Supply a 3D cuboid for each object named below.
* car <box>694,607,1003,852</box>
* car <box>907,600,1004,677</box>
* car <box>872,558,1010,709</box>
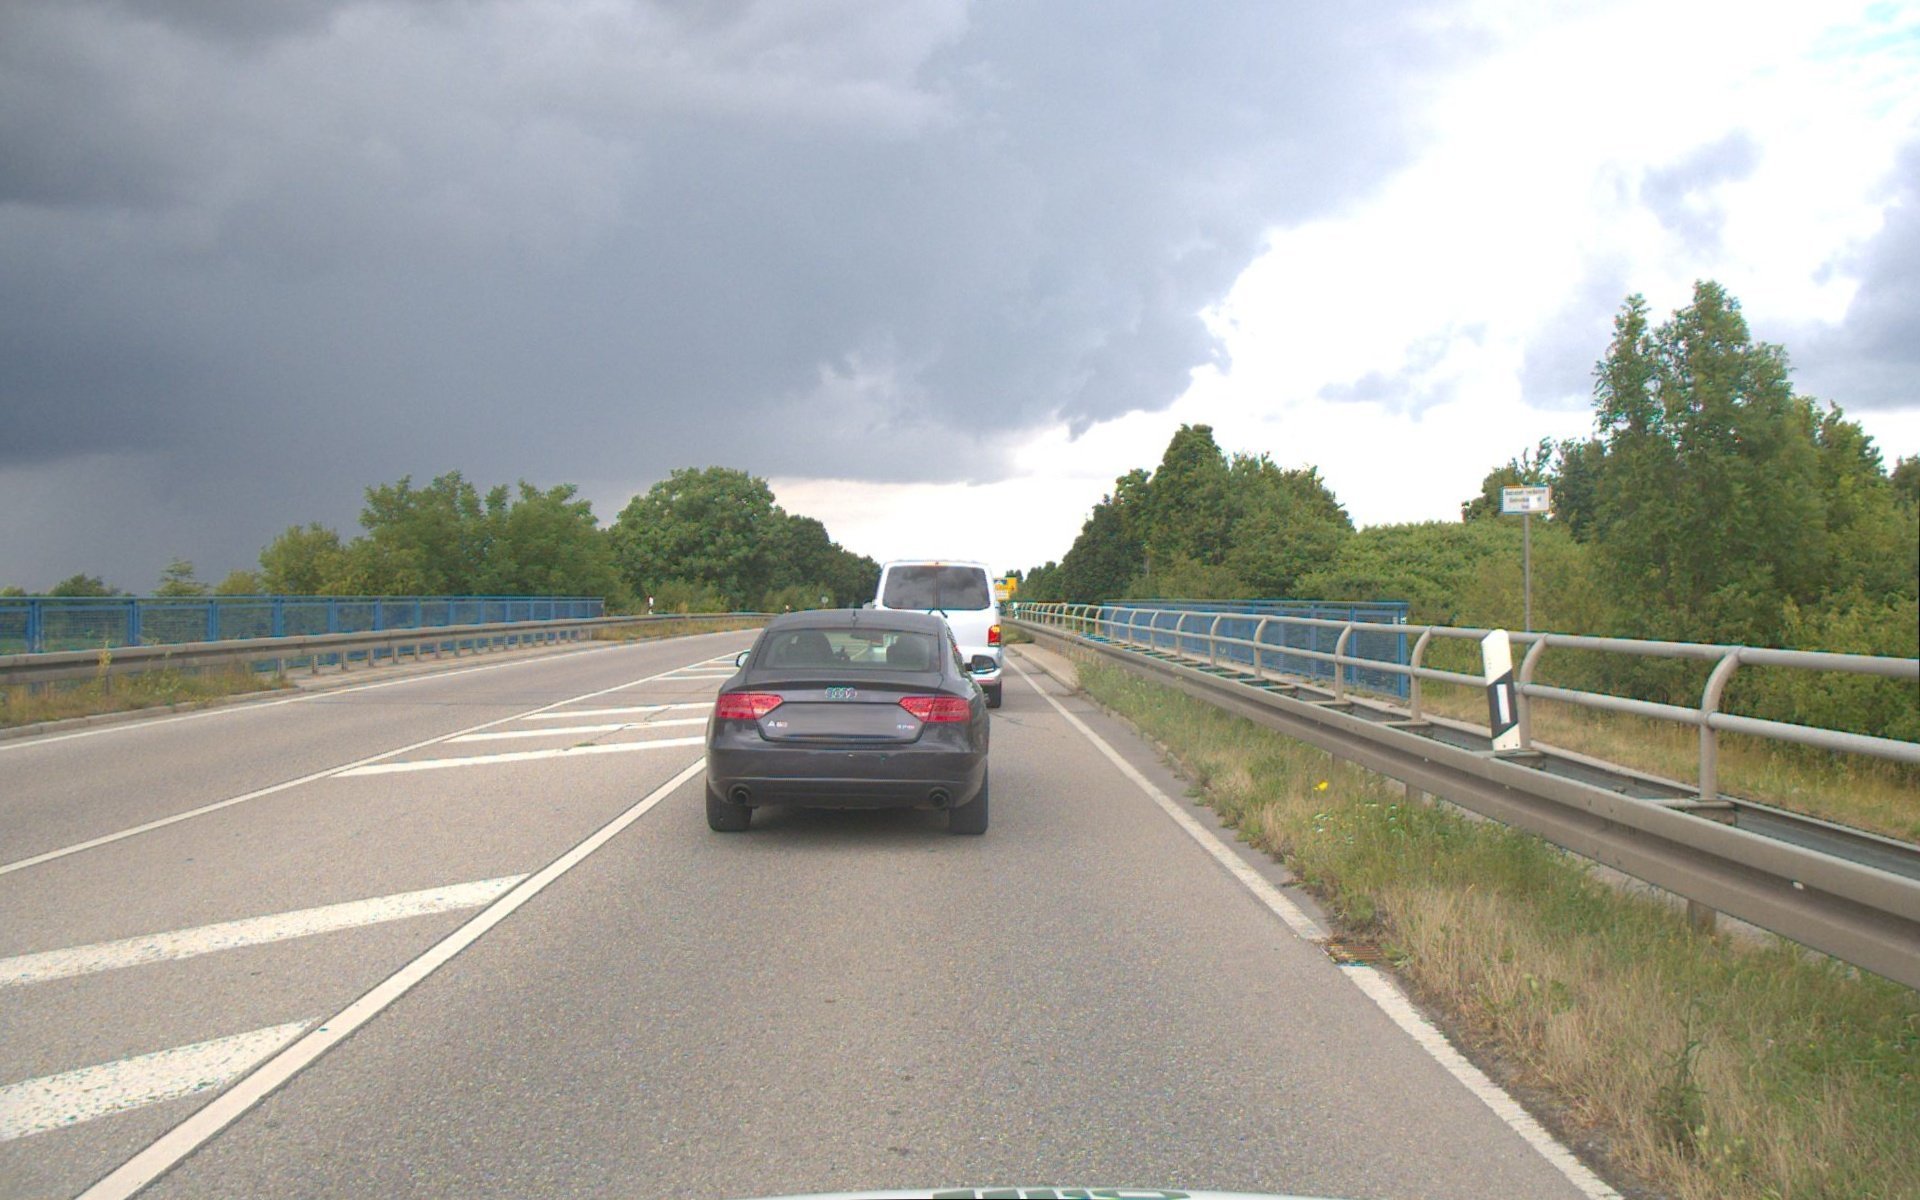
[{"bbox_3d":[-0.630,0.755,11.604,1.784,1.405,4.072,0,0,0],"label":"car"},{"bbox_3d":[-0.068,0.716,32.621,1.784,1.405,4.072,0,0,0],"label":"car"},{"bbox_3d":[-0.275,0.440,23.611,1.791,1.969,3.999,0,0,-1],"label":"car"}]
